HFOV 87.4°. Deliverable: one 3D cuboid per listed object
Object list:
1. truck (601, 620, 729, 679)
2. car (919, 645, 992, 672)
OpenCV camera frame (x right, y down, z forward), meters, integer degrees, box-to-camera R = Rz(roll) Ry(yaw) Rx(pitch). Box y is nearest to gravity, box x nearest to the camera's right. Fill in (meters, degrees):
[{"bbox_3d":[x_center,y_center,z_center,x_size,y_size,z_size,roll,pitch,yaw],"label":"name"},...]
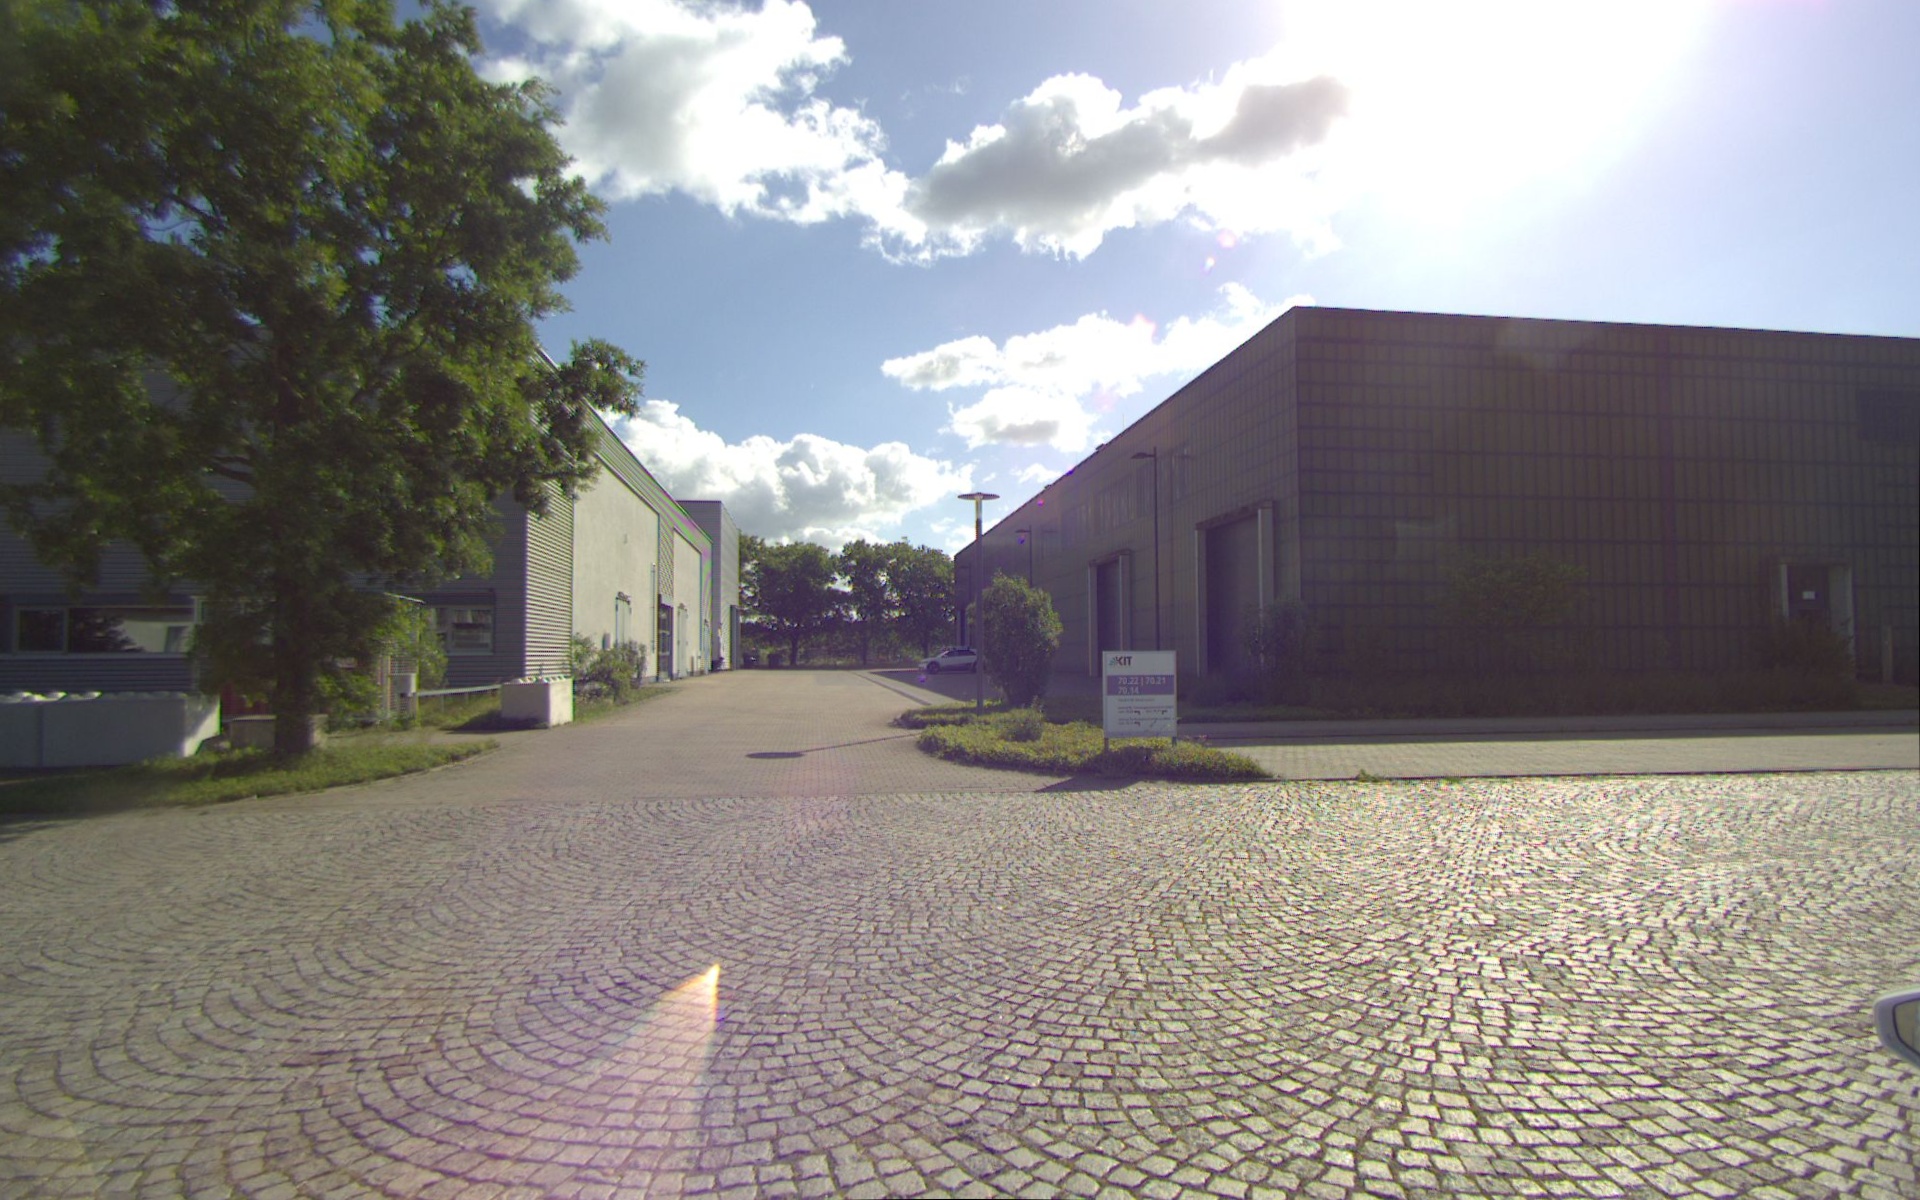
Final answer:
[{"bbox_3d":[-19.881,3.322,68.148,7.954,3.867,2.648,0,-3,-8],"label":"truck"},{"bbox_3d":[-0.333,3.754,65.054,4.496,1.684,1.997,0,-3,-9],"label":"car"}]
